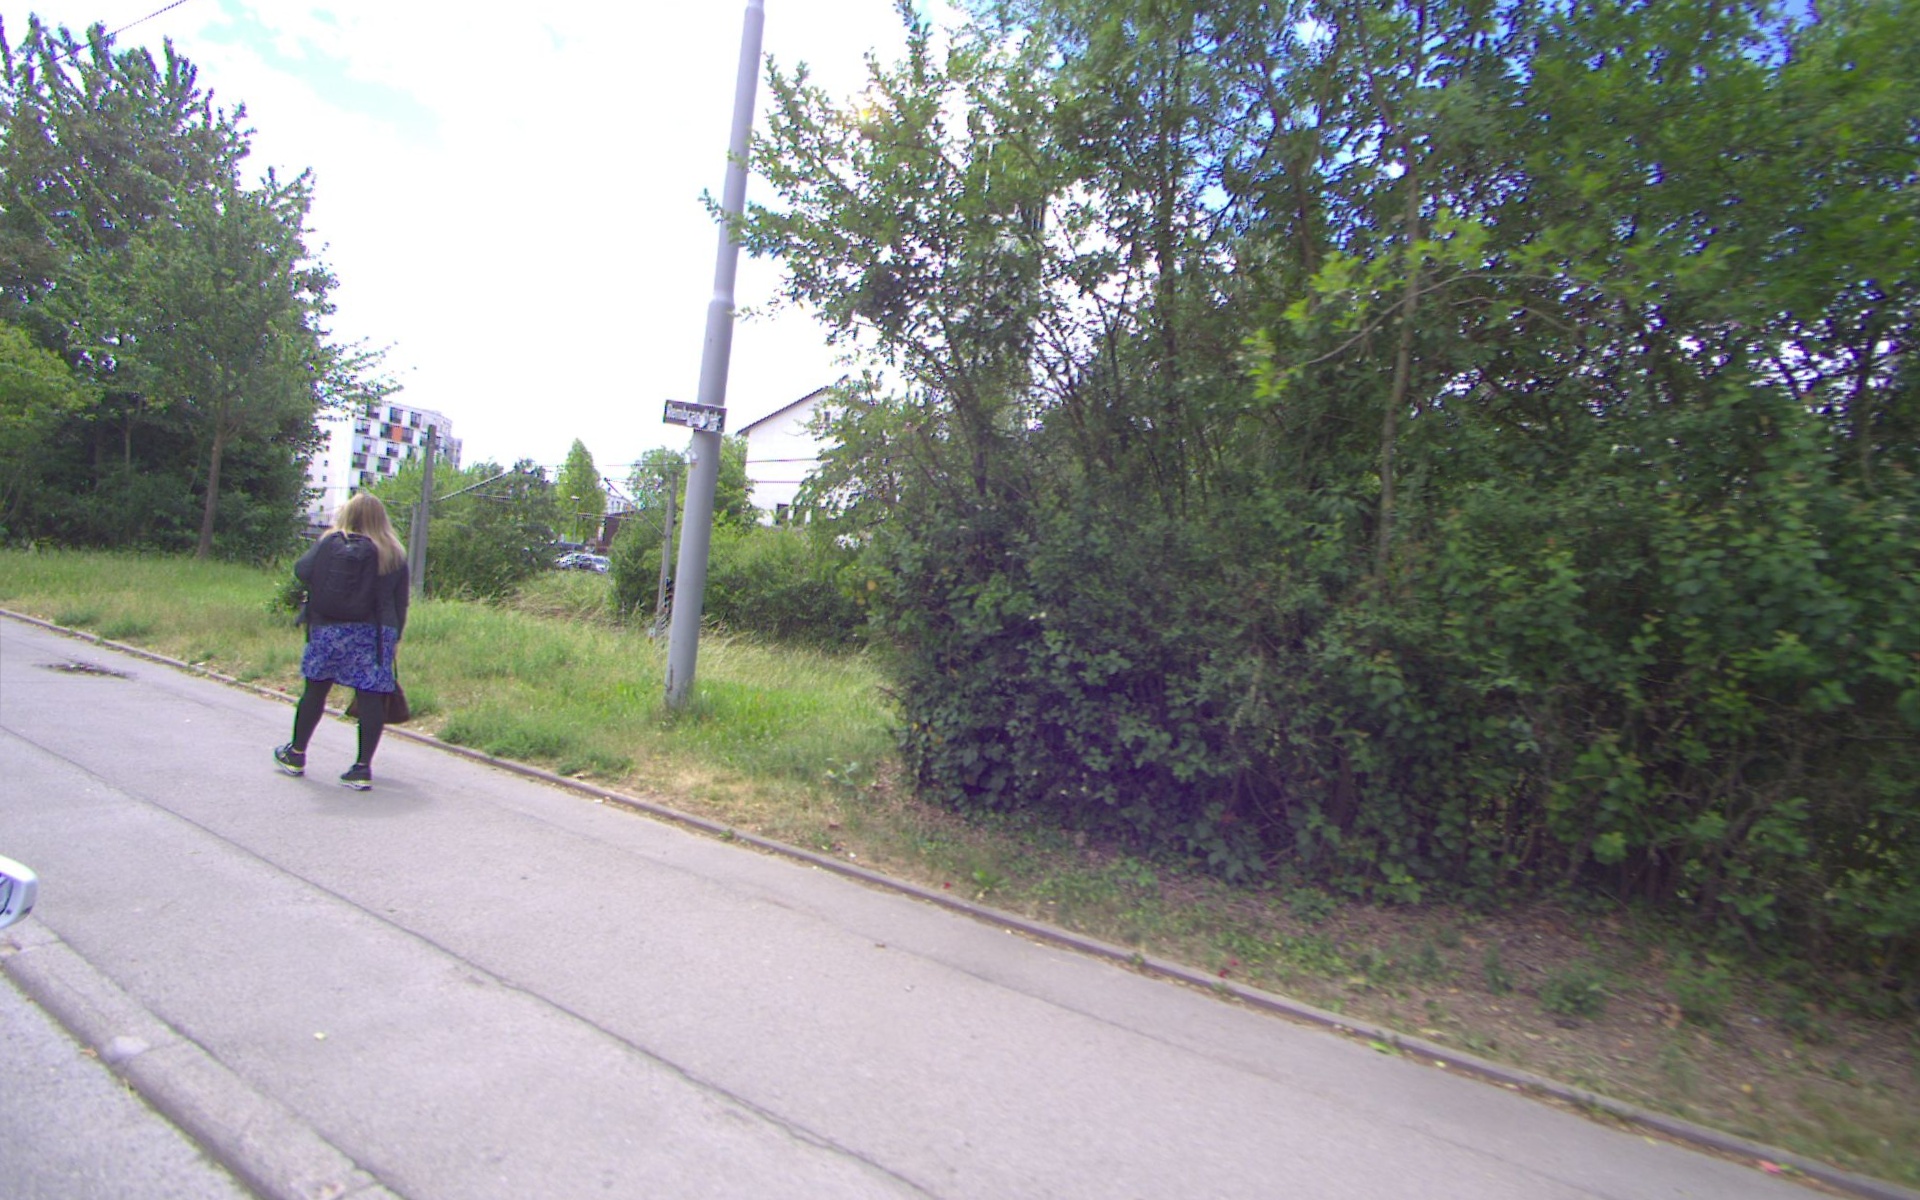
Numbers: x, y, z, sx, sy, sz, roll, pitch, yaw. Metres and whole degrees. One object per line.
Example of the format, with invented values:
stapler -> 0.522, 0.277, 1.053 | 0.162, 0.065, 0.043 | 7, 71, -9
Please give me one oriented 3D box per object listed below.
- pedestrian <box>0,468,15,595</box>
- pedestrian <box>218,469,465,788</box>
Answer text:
pedestrian -> -9.142, -0.406, 9.048 | 0.679, 1.679, 0.686 | 7, 0, 36
pedestrian -> -3.573, 0.161, 5.836 | 0.754, 1.679, 0.840 | 7, -1, 36
